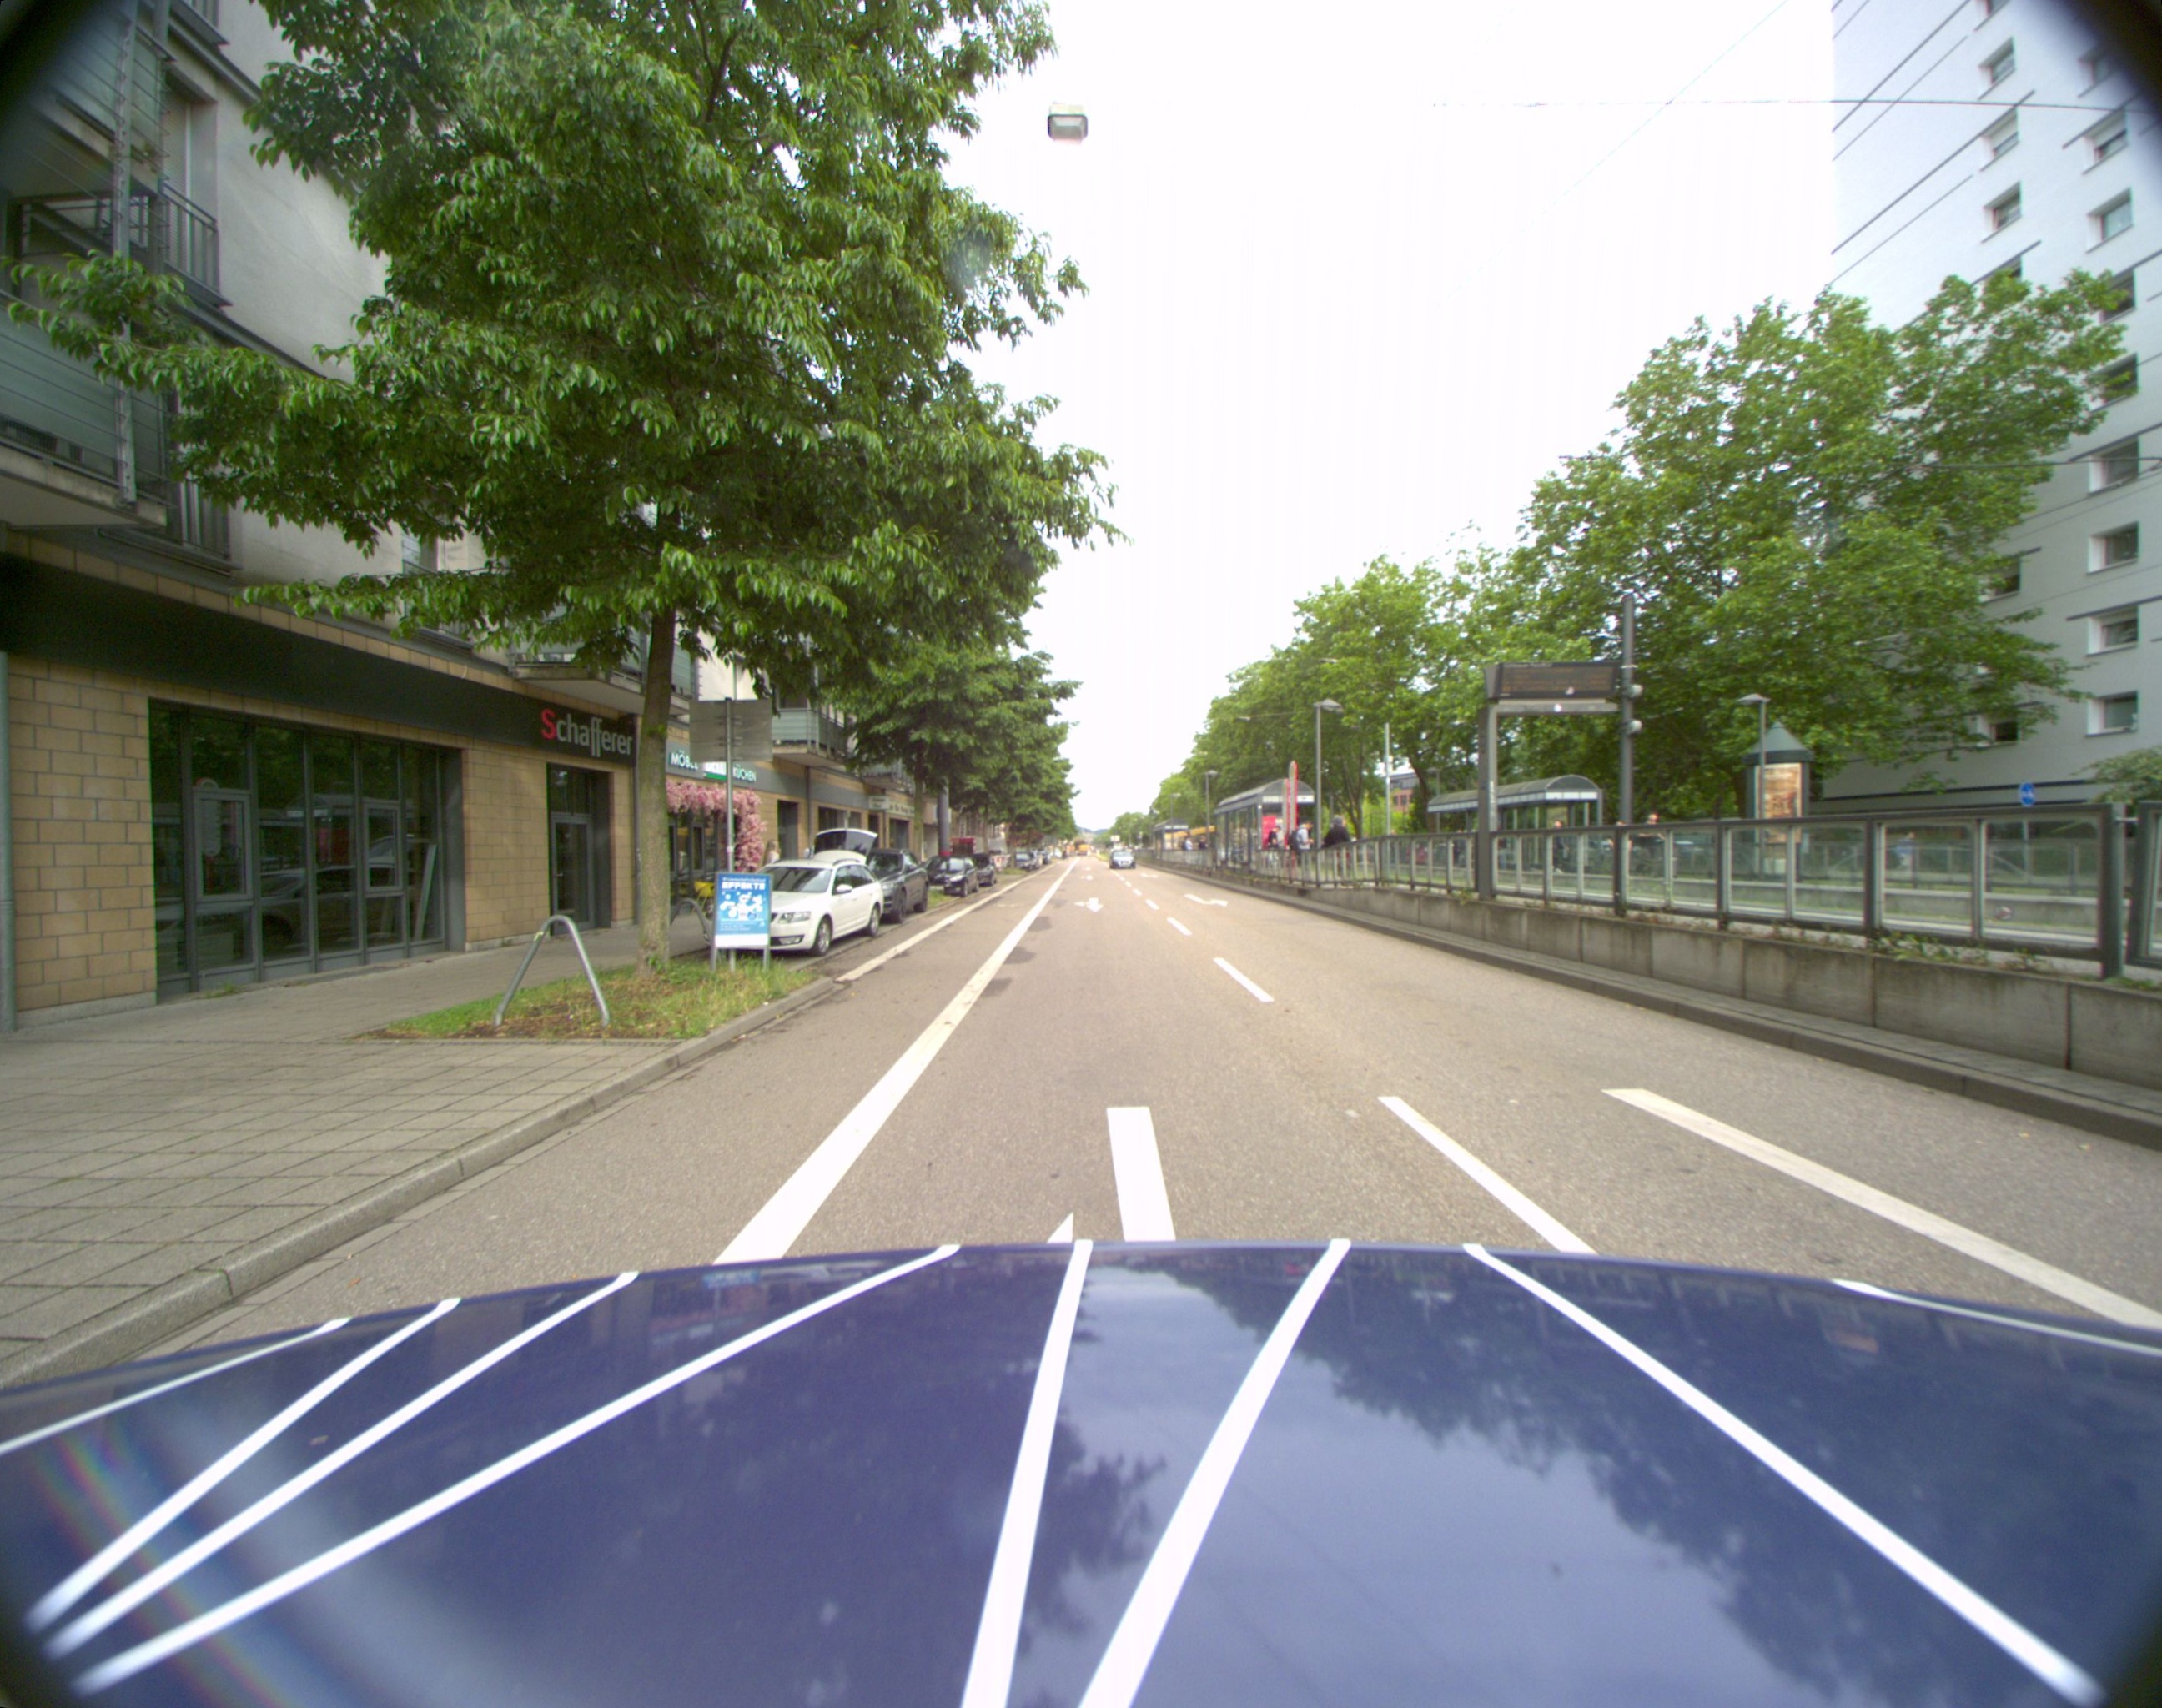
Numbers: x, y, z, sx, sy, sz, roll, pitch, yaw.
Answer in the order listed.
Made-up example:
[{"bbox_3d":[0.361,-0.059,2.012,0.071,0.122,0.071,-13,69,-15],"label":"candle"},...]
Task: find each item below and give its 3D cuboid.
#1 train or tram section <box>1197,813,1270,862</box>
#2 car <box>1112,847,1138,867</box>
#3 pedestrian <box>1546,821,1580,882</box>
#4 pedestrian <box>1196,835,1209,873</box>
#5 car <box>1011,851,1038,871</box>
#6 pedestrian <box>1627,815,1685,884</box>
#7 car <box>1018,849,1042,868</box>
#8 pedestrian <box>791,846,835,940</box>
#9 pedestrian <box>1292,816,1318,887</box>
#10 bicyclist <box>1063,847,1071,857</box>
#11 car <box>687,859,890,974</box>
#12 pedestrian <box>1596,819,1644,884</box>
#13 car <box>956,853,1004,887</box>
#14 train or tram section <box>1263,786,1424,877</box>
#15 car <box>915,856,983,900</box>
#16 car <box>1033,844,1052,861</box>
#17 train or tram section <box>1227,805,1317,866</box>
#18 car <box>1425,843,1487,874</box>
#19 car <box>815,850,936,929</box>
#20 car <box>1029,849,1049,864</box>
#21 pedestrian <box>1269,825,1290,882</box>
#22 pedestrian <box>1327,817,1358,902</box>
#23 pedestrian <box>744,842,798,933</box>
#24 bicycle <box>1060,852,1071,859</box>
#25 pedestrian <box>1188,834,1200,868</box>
[{"bbox_3d":[13.356,-1.383,68.401,3.338,3.731,16.247,-2,1,1],"label":"train or tram section"},{"bbox_3d":[3.354,0.224,58.398,1.716,1.379,4.099,-2,1,1],"label":"car"},{"bbox_3d":[15.483,-0.086,24.407,0.699,1.919,0.554,-2,1,1],"label":"pedestrian"},{"bbox_3d":[5.848,0.000,36.520,0.530,1.794,0.606,-2,1,14],"label":"pedestrian"},{"bbox_3d":[-4.163,0.481,56.242,1.612,1.393,3.667,2,1,1],"label":"car"},{"bbox_3d":[15.213,-0.127,20.120,0.882,1.746,0.850,-2,1,1],"label":"pedestrian"},{"bbox_3d":[-4.123,0.366,62.162,1.612,1.393,3.667,2,1,1],"label":"car"},{"bbox_3d":[-5.509,0.786,15.641,0.656,1.873,0.599,-1,1,1],"label":"pedestrian"},{"bbox_3d":[5.747,-0.063,19.479,0.475,1.794,0.605,-2,1,5],"label":"pedestrian"},{"bbox_3d":[-2.047,-0.302,108.687,0.728,1.458,0.810,-2,1,-44],"label":"bicyclist"},{"bbox_3d":[-4.720,0.902,12.998,1.738,1.512,4.308,2,1,1],"label":"car"},{"bbox_3d":[15.652,-0.082,22.076,0.882,1.823,0.666,-2,1,1],"label":"pedestrian"},{"bbox_3d":[-4.556,0.686,34.734,1.612,1.393,3.667,2,1,1],"label":"car"},{"bbox_3d":[13.030,-1.053,40.043,3.338,3.731,15.201,-2,1,1],"label":"train or tram section"},{"bbox_3d":[-4.637,0.795,27.273,1.612,1.370,4.167,2,1,1],"label":"car"},{"bbox_3d":[-3.961,-0.140,78.219,1.612,1.674,3.806,2,1,1],"label":"car"},{"bbox_3d":[13.198,-1.216,53.984,3.338,3.731,12.547,-2,1,1],"label":"train or tram section"},{"bbox_3d":[18.421,0.182,37.467,1.581,1.420,3.220,-1,1,3],"label":"car"},{"bbox_3d":[-4.716,0.743,18.001,1.738,1.601,3.798,2,1,1],"label":"car"},{"bbox_3d":[-3.968,0.210,72.448,1.612,1.393,3.667,2,1,1],"label":"car"},{"bbox_3d":[6.312,-0.028,24.196,0.474,1.794,0.606,-2,1,26],"label":"pedestrian"},{"bbox_3d":[5.705,0.120,16.577,0.521,1.794,0.605,-2,1,13],"label":"pedestrian"},{"bbox_3d":[-5.993,0.626,14.696,0.616,1.707,0.739,1,1,27],"label":"pedestrian"},{"bbox_3d":[-2.189,0.222,108.815,0.492,0.925,1.777,-3,1,-44],"label":"bicycle"},{"bbox_3d":[6.141,-0.178,41.337,0.530,1.794,0.606,-2,1,14],"label":"pedestrian"}]
